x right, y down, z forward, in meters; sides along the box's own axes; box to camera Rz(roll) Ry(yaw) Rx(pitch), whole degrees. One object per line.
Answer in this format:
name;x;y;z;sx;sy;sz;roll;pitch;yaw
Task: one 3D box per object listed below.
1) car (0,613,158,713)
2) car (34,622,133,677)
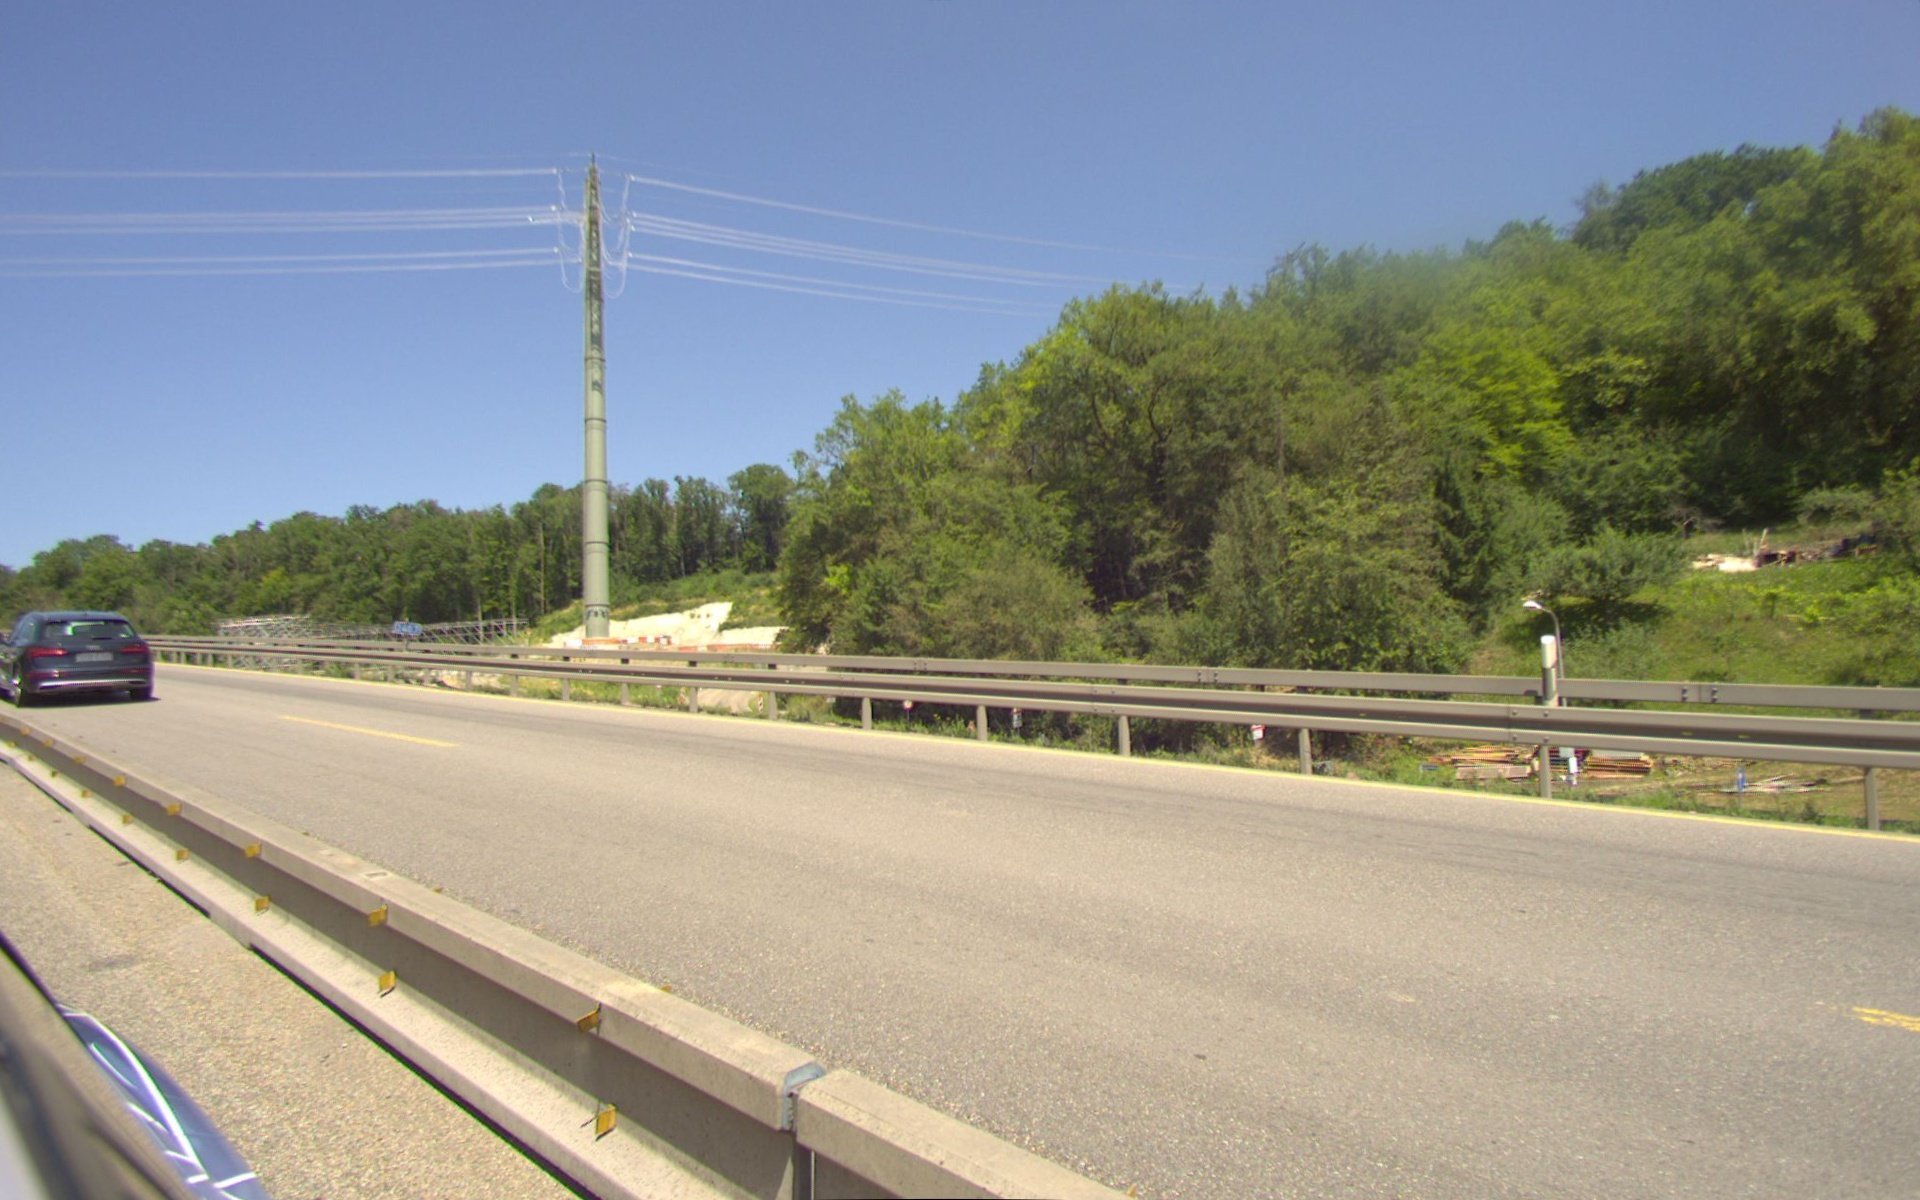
car;-16.495;1.046;18.629;4.525;1.608;1.897;-1;-1;41
car;-26.356;1.430;30.394;3.997;1.504;1.682;-1;-1;41
